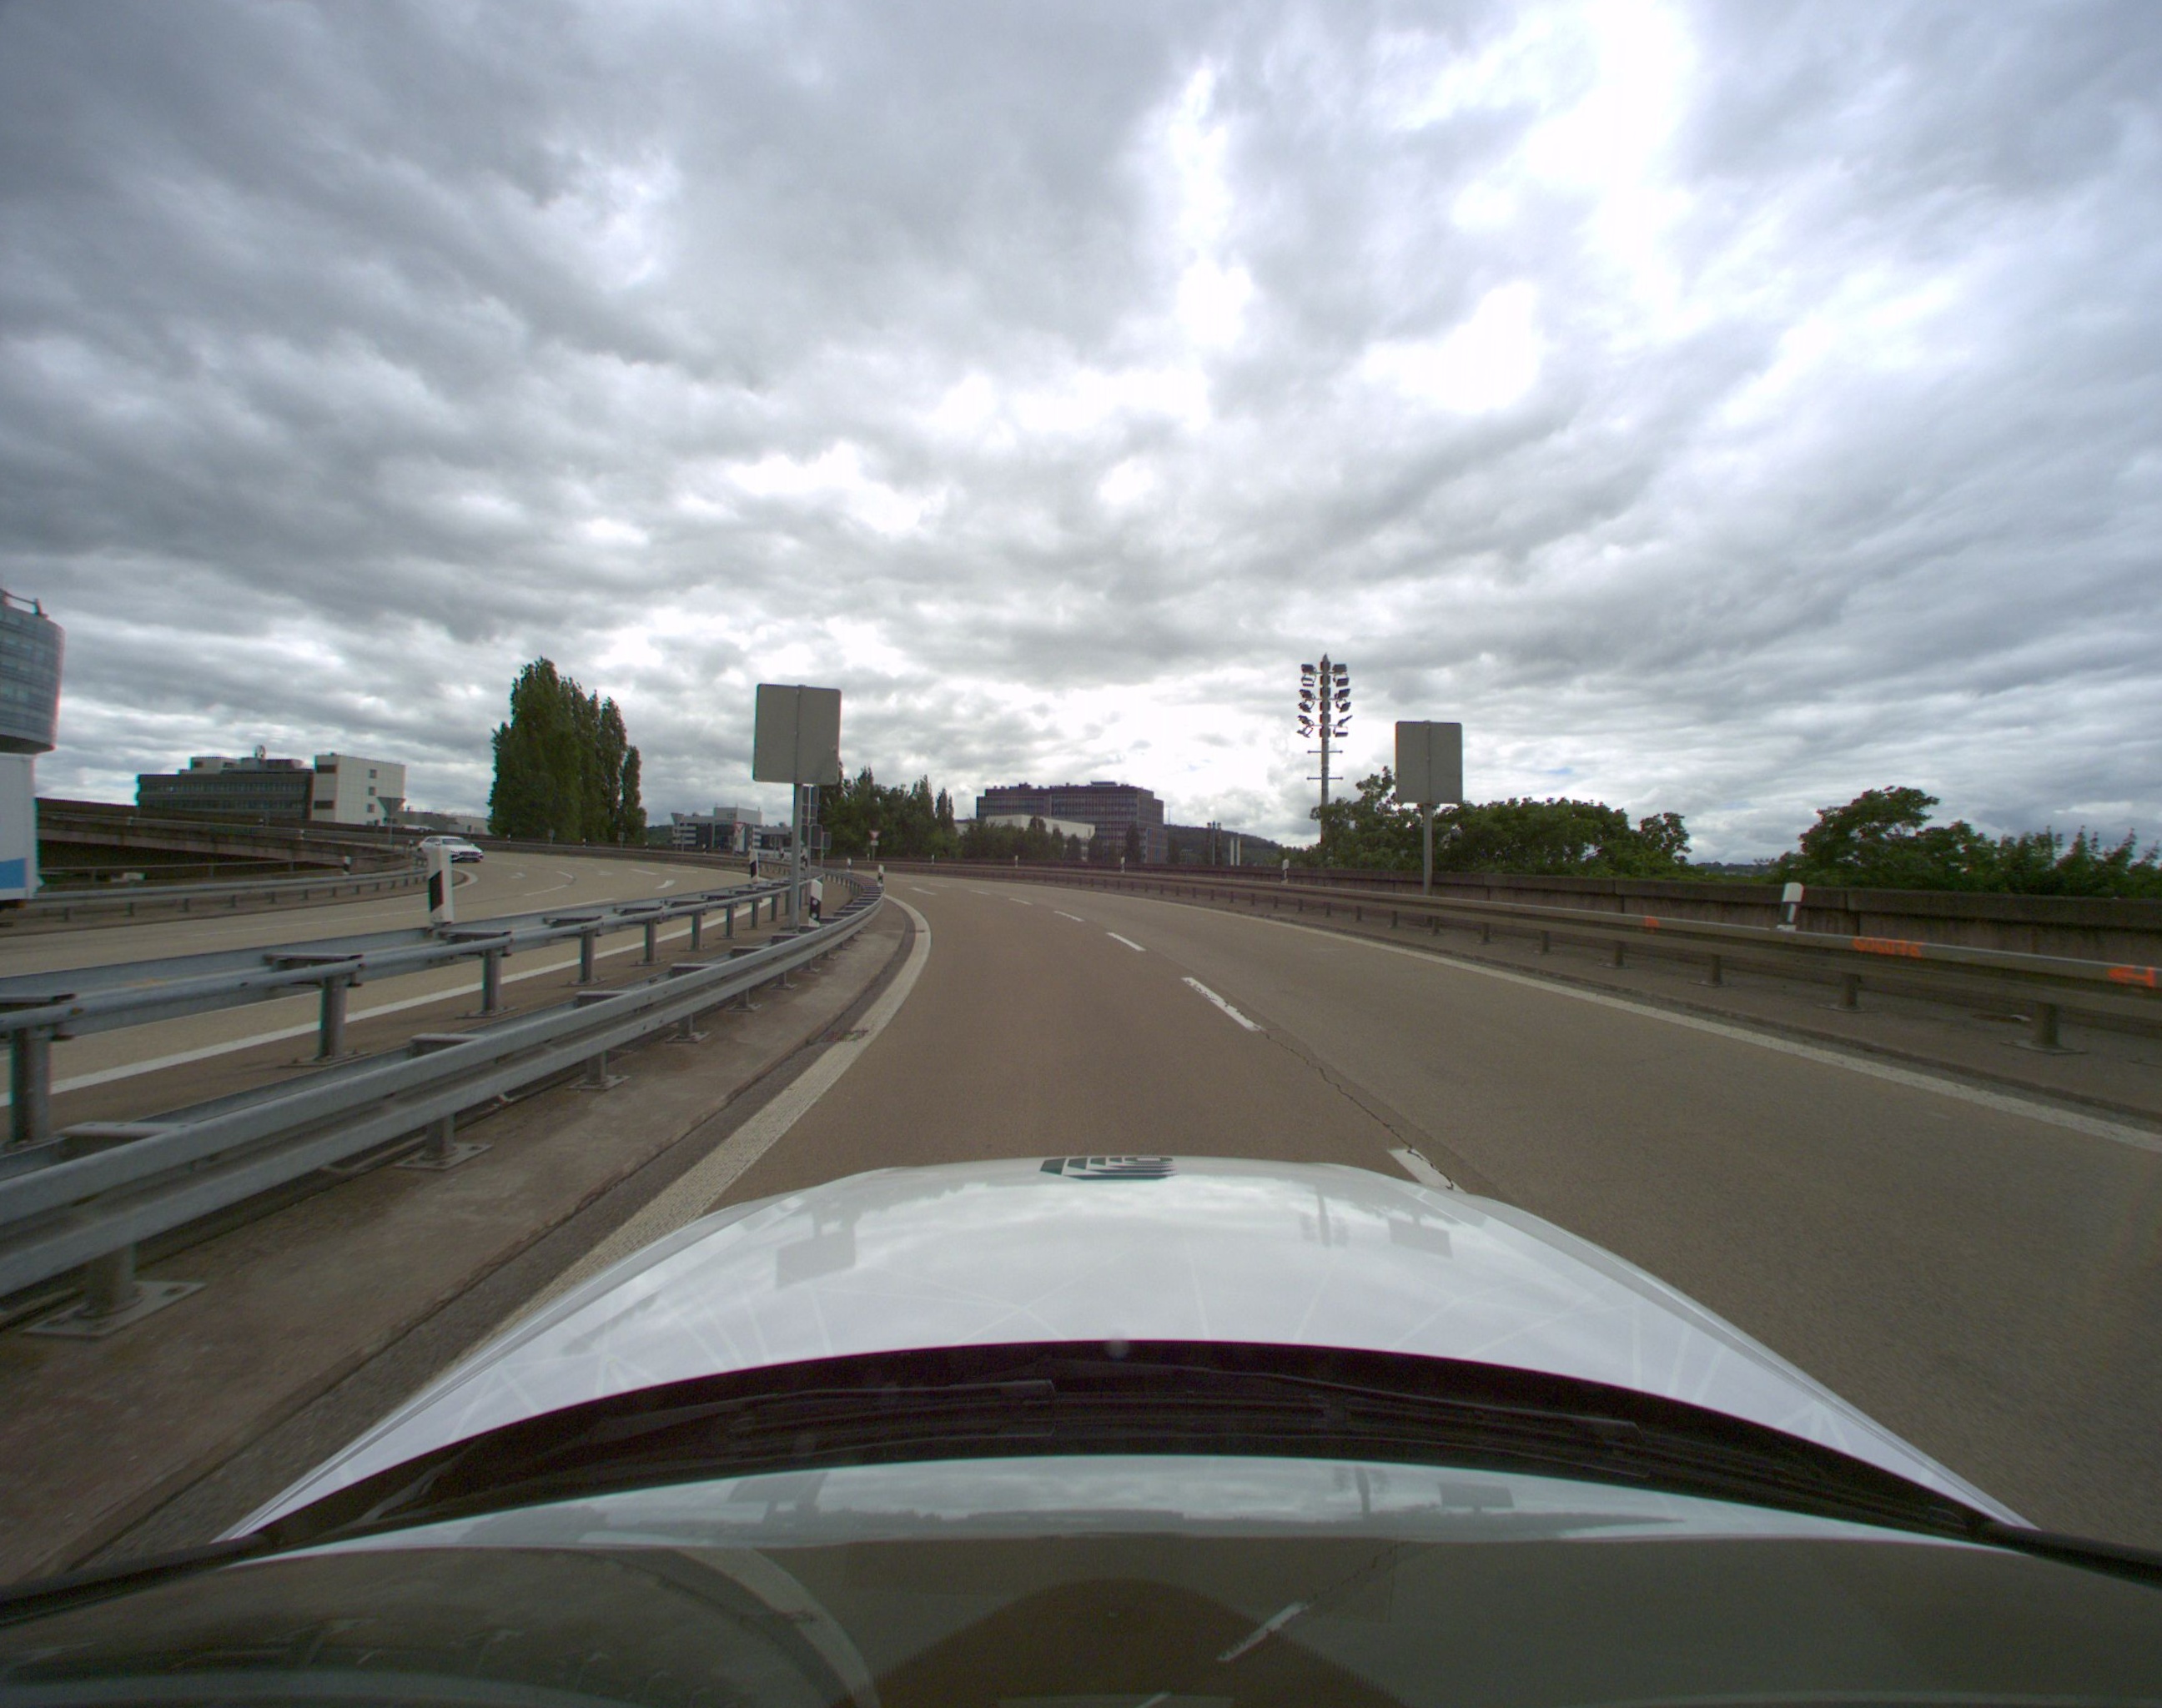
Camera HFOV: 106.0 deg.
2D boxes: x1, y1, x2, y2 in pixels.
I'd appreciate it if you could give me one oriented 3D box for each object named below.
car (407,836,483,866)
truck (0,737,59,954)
[{"bbox_3d":[-37.085,-0.227,47.484,4.311,1.413,1.929,4,5,29],"label":"car"},{"bbox_3d":[-17.337,-0.104,9.424,2.339,3.263,6.988,-1,0,-3],"label":"truck"}]
